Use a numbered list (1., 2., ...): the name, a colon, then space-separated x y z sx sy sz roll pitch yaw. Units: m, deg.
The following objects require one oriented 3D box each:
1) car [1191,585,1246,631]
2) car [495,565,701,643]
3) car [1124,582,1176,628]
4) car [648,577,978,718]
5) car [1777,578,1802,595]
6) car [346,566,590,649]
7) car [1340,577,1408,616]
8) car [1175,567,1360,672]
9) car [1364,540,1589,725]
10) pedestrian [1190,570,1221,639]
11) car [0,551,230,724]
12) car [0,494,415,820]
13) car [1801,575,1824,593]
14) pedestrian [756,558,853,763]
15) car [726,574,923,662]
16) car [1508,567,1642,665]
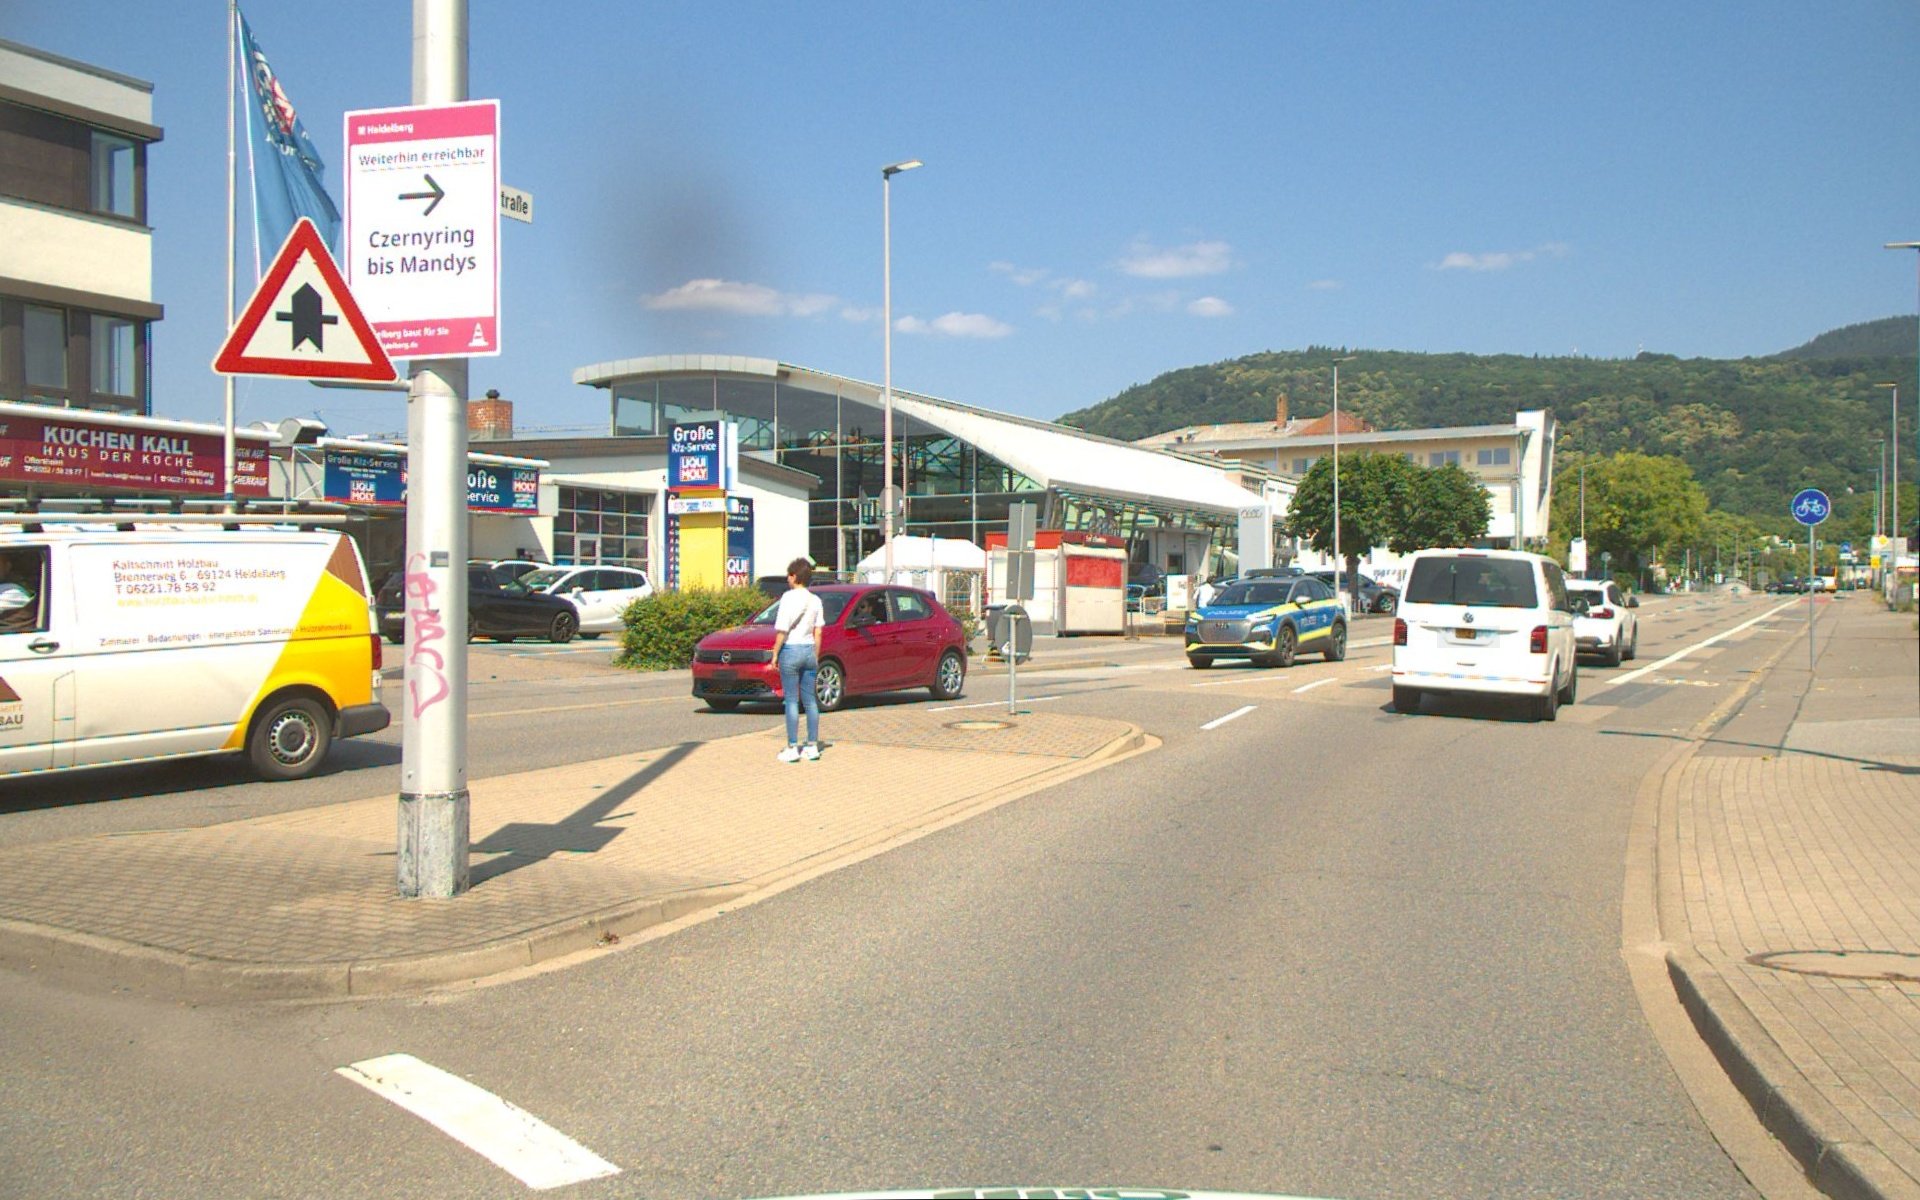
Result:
1. car: 9.321 0.262 59.874 1.708 1.612 3.663 0 0 5
2. car: -8.161 0.092 37.800 1.844 1.616 4.921 -2 -1 28
3. car: 6.859 0.162 59.406 1.708 1.612 3.664 0 0 9
4. car: -1.631 0.496 19.742 1.808 1.489 4.133 -1 0 32
5. car: 66.375 -1.110 132.258 1.686 1.326 3.994 -1 0 28
6. car: -9.178 0.111 31.215 1.987 1.452 4.312 -1 0 28
7. car: 17.421 -0.141 69.724 1.711 1.612 3.658 0 0 -4
8. car: 5.809 0.311 30.810 1.874 1.791 4.440 -1 0 32
9. car: 6.767 0.325 21.268 2.119 2.048 5.015 2 1 24
10. pedestrian: 6.564 0.120 44.246 0.743 1.819 0.785 0 0 13
11. car: -11.750 0.434 19.907 1.924 2.000 5.267 0 0 32
12. car: -6.696 0.355 12.107 1.988 2.151 4.914 1 1 37
13. car: 83.696 -1.531 162.388 1.955 1.713 3.994 -1 0 28
14. pedestrian: -1.323 0.496 13.983 0.746 1.685 0.670 0 0 -12
15. car: -2.650 0.324 33.148 1.957 1.646 3.990 -1 0 32
16. car: 12.279 0.272 32.875 1.956 1.737 3.995 3 2 28
